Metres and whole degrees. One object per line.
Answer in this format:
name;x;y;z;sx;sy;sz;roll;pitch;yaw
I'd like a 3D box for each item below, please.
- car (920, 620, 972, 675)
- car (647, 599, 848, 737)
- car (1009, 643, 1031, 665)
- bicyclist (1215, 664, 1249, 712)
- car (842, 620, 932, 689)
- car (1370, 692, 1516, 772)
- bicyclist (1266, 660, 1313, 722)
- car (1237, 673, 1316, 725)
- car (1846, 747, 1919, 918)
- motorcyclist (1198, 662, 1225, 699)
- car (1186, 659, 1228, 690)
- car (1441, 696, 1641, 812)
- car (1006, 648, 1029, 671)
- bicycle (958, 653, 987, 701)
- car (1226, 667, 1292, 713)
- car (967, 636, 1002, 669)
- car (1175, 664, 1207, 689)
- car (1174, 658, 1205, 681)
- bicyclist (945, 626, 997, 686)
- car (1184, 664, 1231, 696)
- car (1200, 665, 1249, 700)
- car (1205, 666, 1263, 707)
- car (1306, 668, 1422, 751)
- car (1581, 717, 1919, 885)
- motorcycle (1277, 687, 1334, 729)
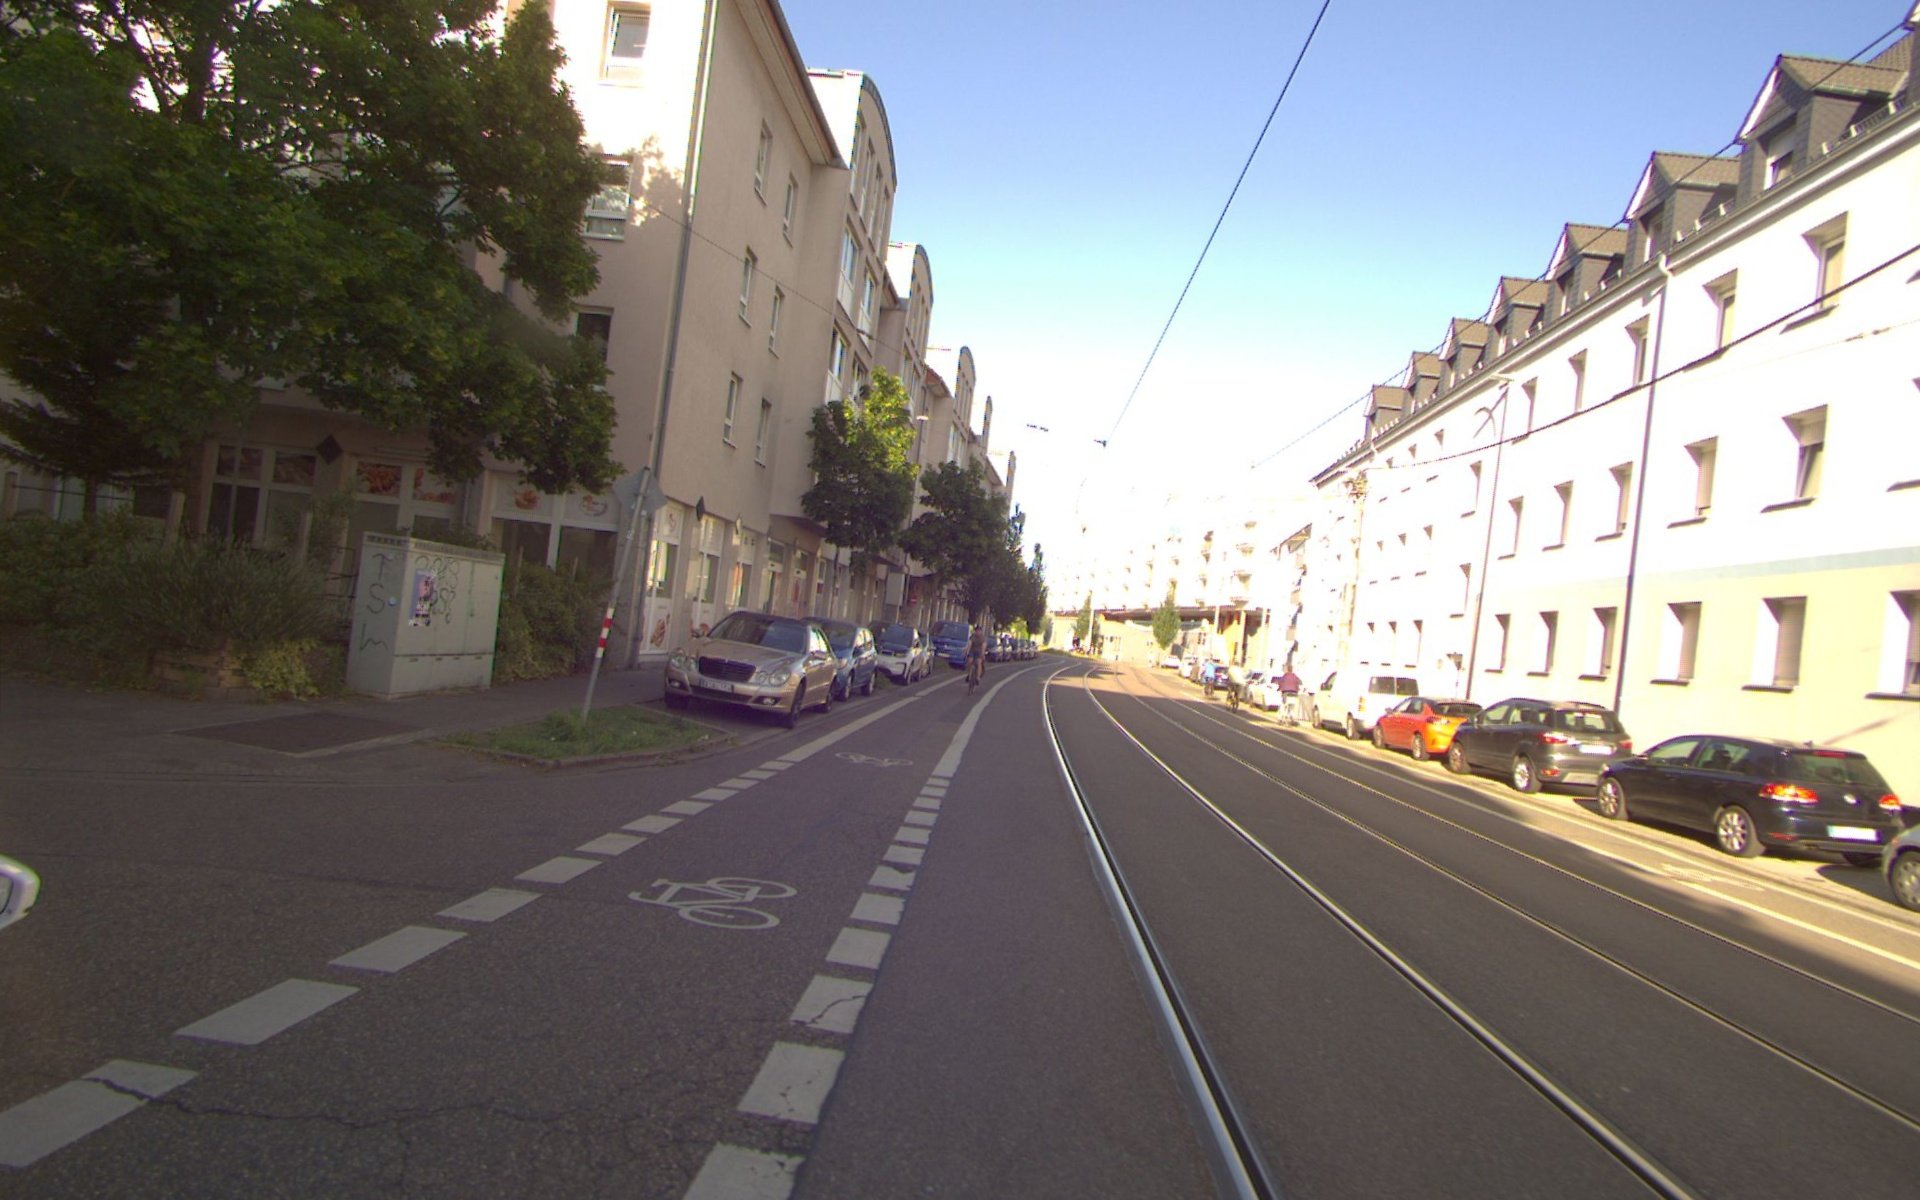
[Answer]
car;-0.526;2.044;42.743;1.639;2.009;4.348;7;-2;4
car;-2.905;0.952;14.678;1.717;1.458;4.004;9;-2;3
car;4.834;4.361;81.385;1.566;1.558;3.195;7;-2;4
bicyclist;8.986;2.910;33.310;0.716;1.479;1.021;7;-2;2
car;-1.997;1.562;28.678;1.801;1.611;4.005;7;-2;5
car;11.259;3.038;23.741;1.767;1.500;3.783;3;-3;4
bicyclist;9.742;2.669;29.768;0.920;1.695;0.970;7;-1;2
car;12.549;3.895;40.141;1.815;1.664;4.554;7;-2;4
car;10.260;2.329;8.785;1.726;1.589;3.909;4;-3;4
motorcyclist;10.466;3.358;41.859;0.716;1.422;1.021;7;-2;2
car;16.723;5.026;68.389;1.815;1.776;4.554;7;-2;4
car;10.781;2.790;19.012;1.634;1.689;3.909;3;-3;4
car;4.388;4.513;76.742;1.566;1.558;3.195;7;-2;4
bicycle;0.334;1.945;25.735;0.612;1.114;1.962;5;-2;2
car;13.208;3.957;44.684;1.815;1.664;3.966;7;-2;4
car;1.454;3.050;58.231;1.639;1.636;4.005;7;-2;4
car;18.079;5.978;78.814;1.815;1.664;4.219;7;-2;7
car;19.013;5.746;83.415;1.815;1.664;4.354;7;-2;7
bicyclist;0.287;1.424;25.650;1.165;1.346;1.096;7;-2;1
car;15.121;4.864;61.659;1.815;1.664;4.554;7;-2;4
car;14.952;4.653;57.021;1.815;1.664;3.970;7;-2;4
car;13.332;4.171;49.179;1.815;1.664;3.970;7;-2;4
car;11.459;3.045;28.839;1.758;1.993;4.159;5;-2;4
car;10.533;2.586;13.798;1.566;1.555;4.012;5;-3;2
motorcycle;11.767;3.669;34.285;0.488;1.157;1.754;8;-2;-36
